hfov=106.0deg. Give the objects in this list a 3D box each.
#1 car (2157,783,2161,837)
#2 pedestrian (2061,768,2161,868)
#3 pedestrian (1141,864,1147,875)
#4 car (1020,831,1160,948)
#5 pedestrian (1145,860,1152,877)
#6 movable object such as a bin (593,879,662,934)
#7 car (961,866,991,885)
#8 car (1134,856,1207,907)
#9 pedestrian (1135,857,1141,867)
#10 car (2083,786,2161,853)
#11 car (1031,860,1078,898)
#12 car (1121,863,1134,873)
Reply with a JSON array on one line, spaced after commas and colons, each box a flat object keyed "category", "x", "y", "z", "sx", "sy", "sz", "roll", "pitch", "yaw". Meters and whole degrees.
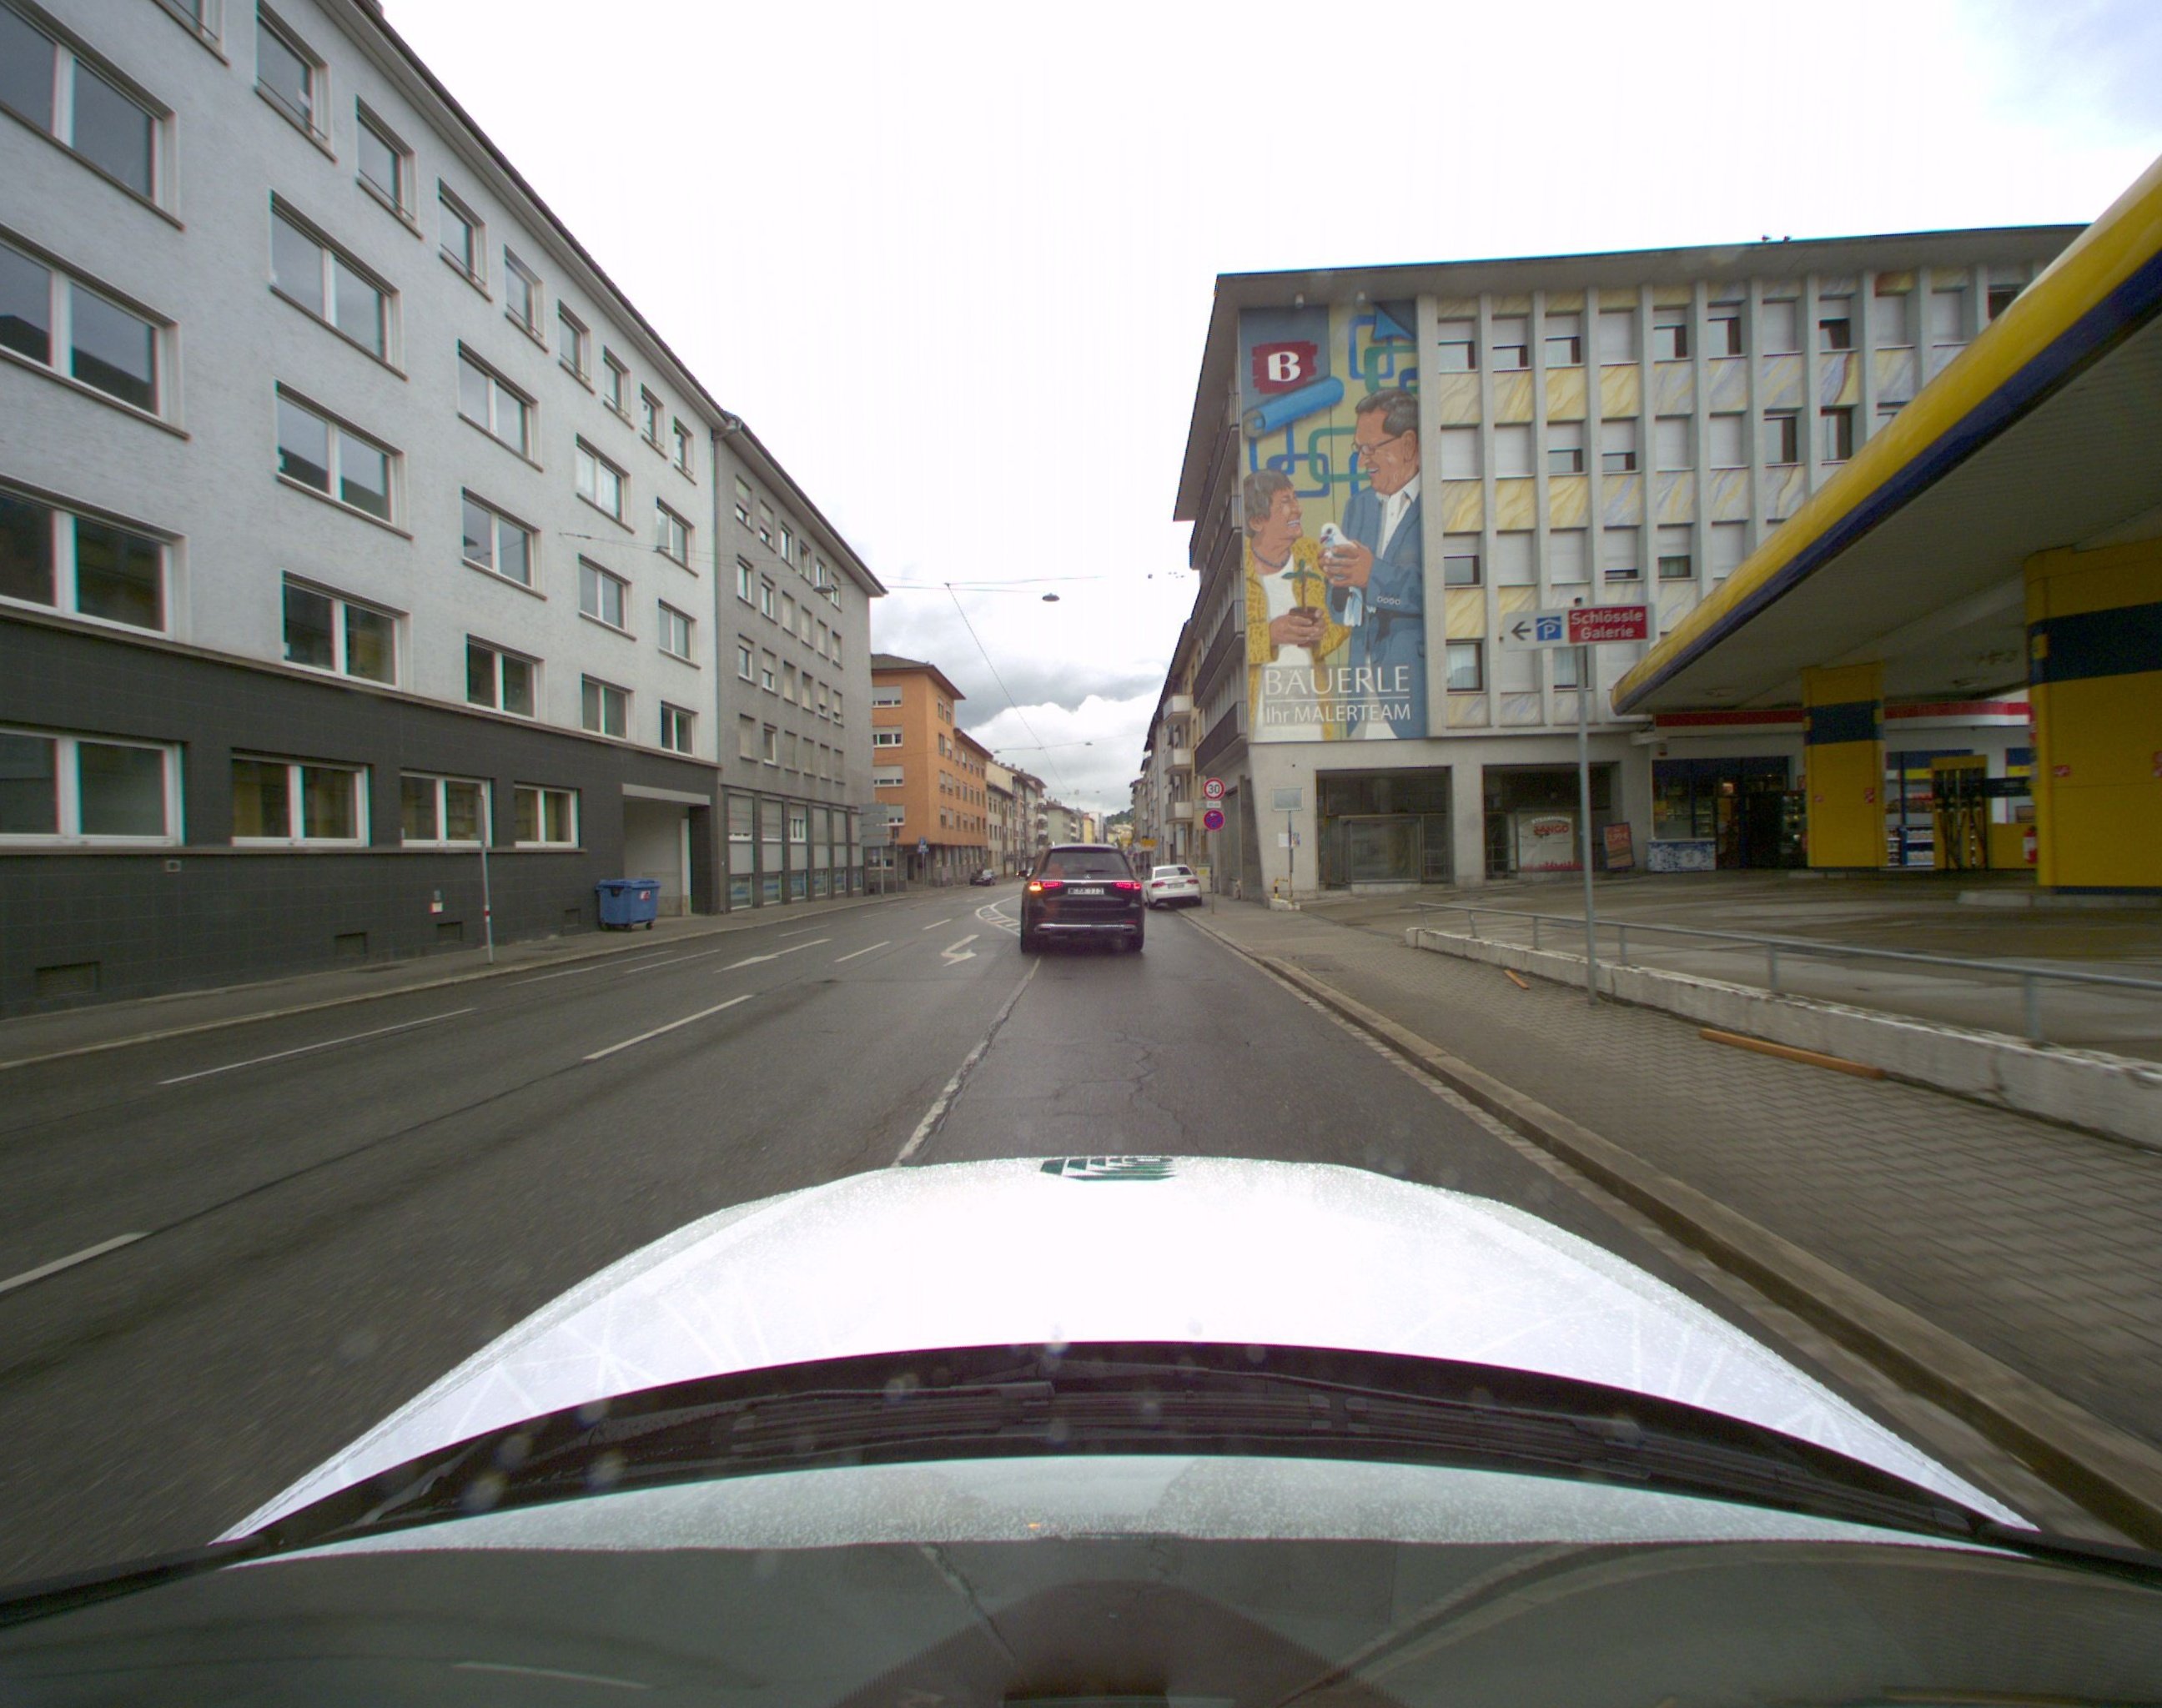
[{"category": "car", "x": 36.836, "y": -1.514, "z": 25.621, "sx": 1.974, "sy": 1.865, "sz": 4.608, "roll": -1, "pitch": 0, "yaw": 30}, {"category": "pedestrian", "x": 19.777, "y": -0.659, "z": 15.446, "sx": 0.651, "sy": 1.797, "sz": 1.287, "roll": -3, "pitch": -1, "yaw": -9}, {"category": "pedestrian", "x": 9.304, "y": 2.262, "z": 120.237, "sx": 0.817, "sy": 1.565, "sz": 0.901, "roll": 0, "pitch": 0, "yaw": 5}, {"category": "car", "x": -0.027, "y": 0.537, "z": 14.754, "sx": 2.073, "sy": 1.765, "sz": 4.602, "roll": 0, "pitch": 0, "yaw": -5}, {"category": "pedestrian", "x": 7.405, "y": 1.593, "z": 89.635, "sx": 0.652, "sy": 1.752, "sz": 0.743, "roll": -4, "pitch": -1, "yaw": 7}, {"category": "movable object such as a bin", "x": -11.713, "y": 1.342, "z": 21.078, "sx": 1.072, "sy": 1.324, "sz": 1.191, "roll": 0, "pitch": 0, "yaw": 2}, {"category": "car", "x": -8.679, "y": 1.781, "z": 67.479, "sx": 1.885, "sy": 1.458, "sz": 4.549, "roll": 0, "pitch": 0, "yaw": 0}, {"category": "car", "x": 3.011, "y": 0.898, "z": 28.365, "sx": 1.888, "sy": 1.402, "sz": 4.607, "roll": -7, "pitch": 0, "yaw": 0}, {"category": "pedestrian", "x": 8.386, "y": 1.181, "z": 120.311, "sx": 0.817, "sy": 1.565, "sz": 0.901, "roll": 0, "pitch": 0, "yaw": 5}, {"category": "car", "x": 26.440, "y": -0.836, "z": 19.586, "sx": 1.974, "sy": 1.516, "sz": 4.446, "roll": -4, "pitch": -2, "yaw": 39}, {"category": "car", "x": -1.094, "y": 1.049, "z": 35.312, "sx": 1.887, "sy": 1.510, "sz": 4.172, "roll": 1, "pitch": 0, "yaw": 0}, {"category": "car", "x": 6.788, "y": 2.090, "z": 119.550, "sx": 1.728, "sy": 1.388, "sz": 4.583, "roll": 0, "pitch": 0, "yaw": 1}]
